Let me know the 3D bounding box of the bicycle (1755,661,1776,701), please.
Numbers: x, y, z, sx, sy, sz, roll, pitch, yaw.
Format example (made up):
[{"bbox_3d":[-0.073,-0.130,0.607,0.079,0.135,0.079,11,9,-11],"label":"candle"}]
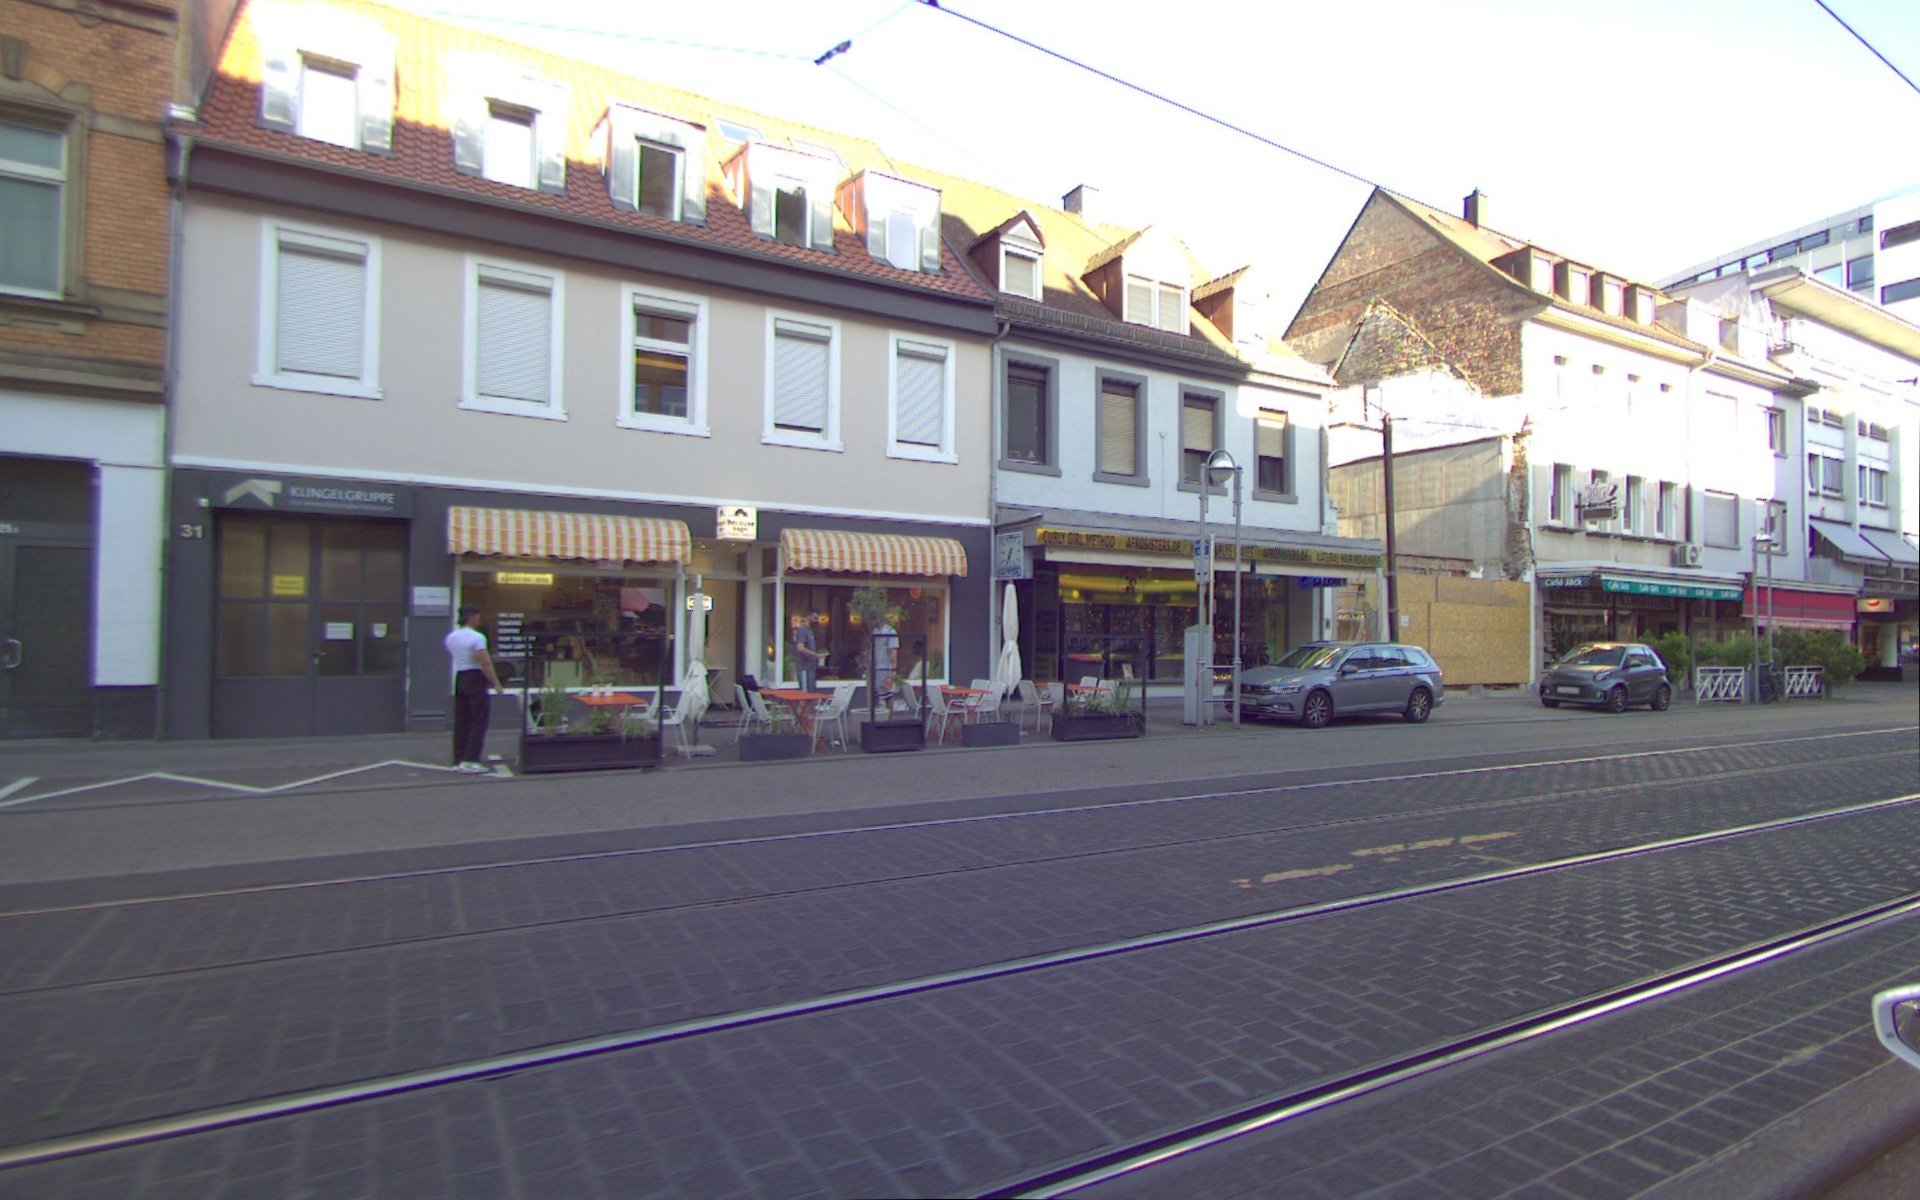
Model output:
[{"bbox_3d":[21.380,2.137,26.645,0.364,1.015,1.597,-1,-2,41],"label":"bicycle"}]

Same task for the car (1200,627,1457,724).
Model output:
[{"bbox_3d":[6.923,1.386,18.745,4.703,1.552,1.983,3,-1,-31],"label":"car"}]

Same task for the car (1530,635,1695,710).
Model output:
[{"bbox_3d":[15.303,1.647,23.530,3.697,1.566,1.668,2,0,-28],"label":"car"}]

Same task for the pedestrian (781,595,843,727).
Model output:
[{"bbox_3d":[-2.146,0.874,14.531,0.636,1.847,0.652,2,-1,-35],"label":"pedestrian"}]

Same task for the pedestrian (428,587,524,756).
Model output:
[{"bbox_3d":[-5.314,0.772,11.056,0.704,1.799,0.615,1,-1,2],"label":"pedestrian"}]

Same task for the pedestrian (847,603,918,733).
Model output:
[{"bbox_3d":[-1.122,0.952,14.483,0.680,1.799,0.881,2,-1,-31],"label":"pedestrian"}]
